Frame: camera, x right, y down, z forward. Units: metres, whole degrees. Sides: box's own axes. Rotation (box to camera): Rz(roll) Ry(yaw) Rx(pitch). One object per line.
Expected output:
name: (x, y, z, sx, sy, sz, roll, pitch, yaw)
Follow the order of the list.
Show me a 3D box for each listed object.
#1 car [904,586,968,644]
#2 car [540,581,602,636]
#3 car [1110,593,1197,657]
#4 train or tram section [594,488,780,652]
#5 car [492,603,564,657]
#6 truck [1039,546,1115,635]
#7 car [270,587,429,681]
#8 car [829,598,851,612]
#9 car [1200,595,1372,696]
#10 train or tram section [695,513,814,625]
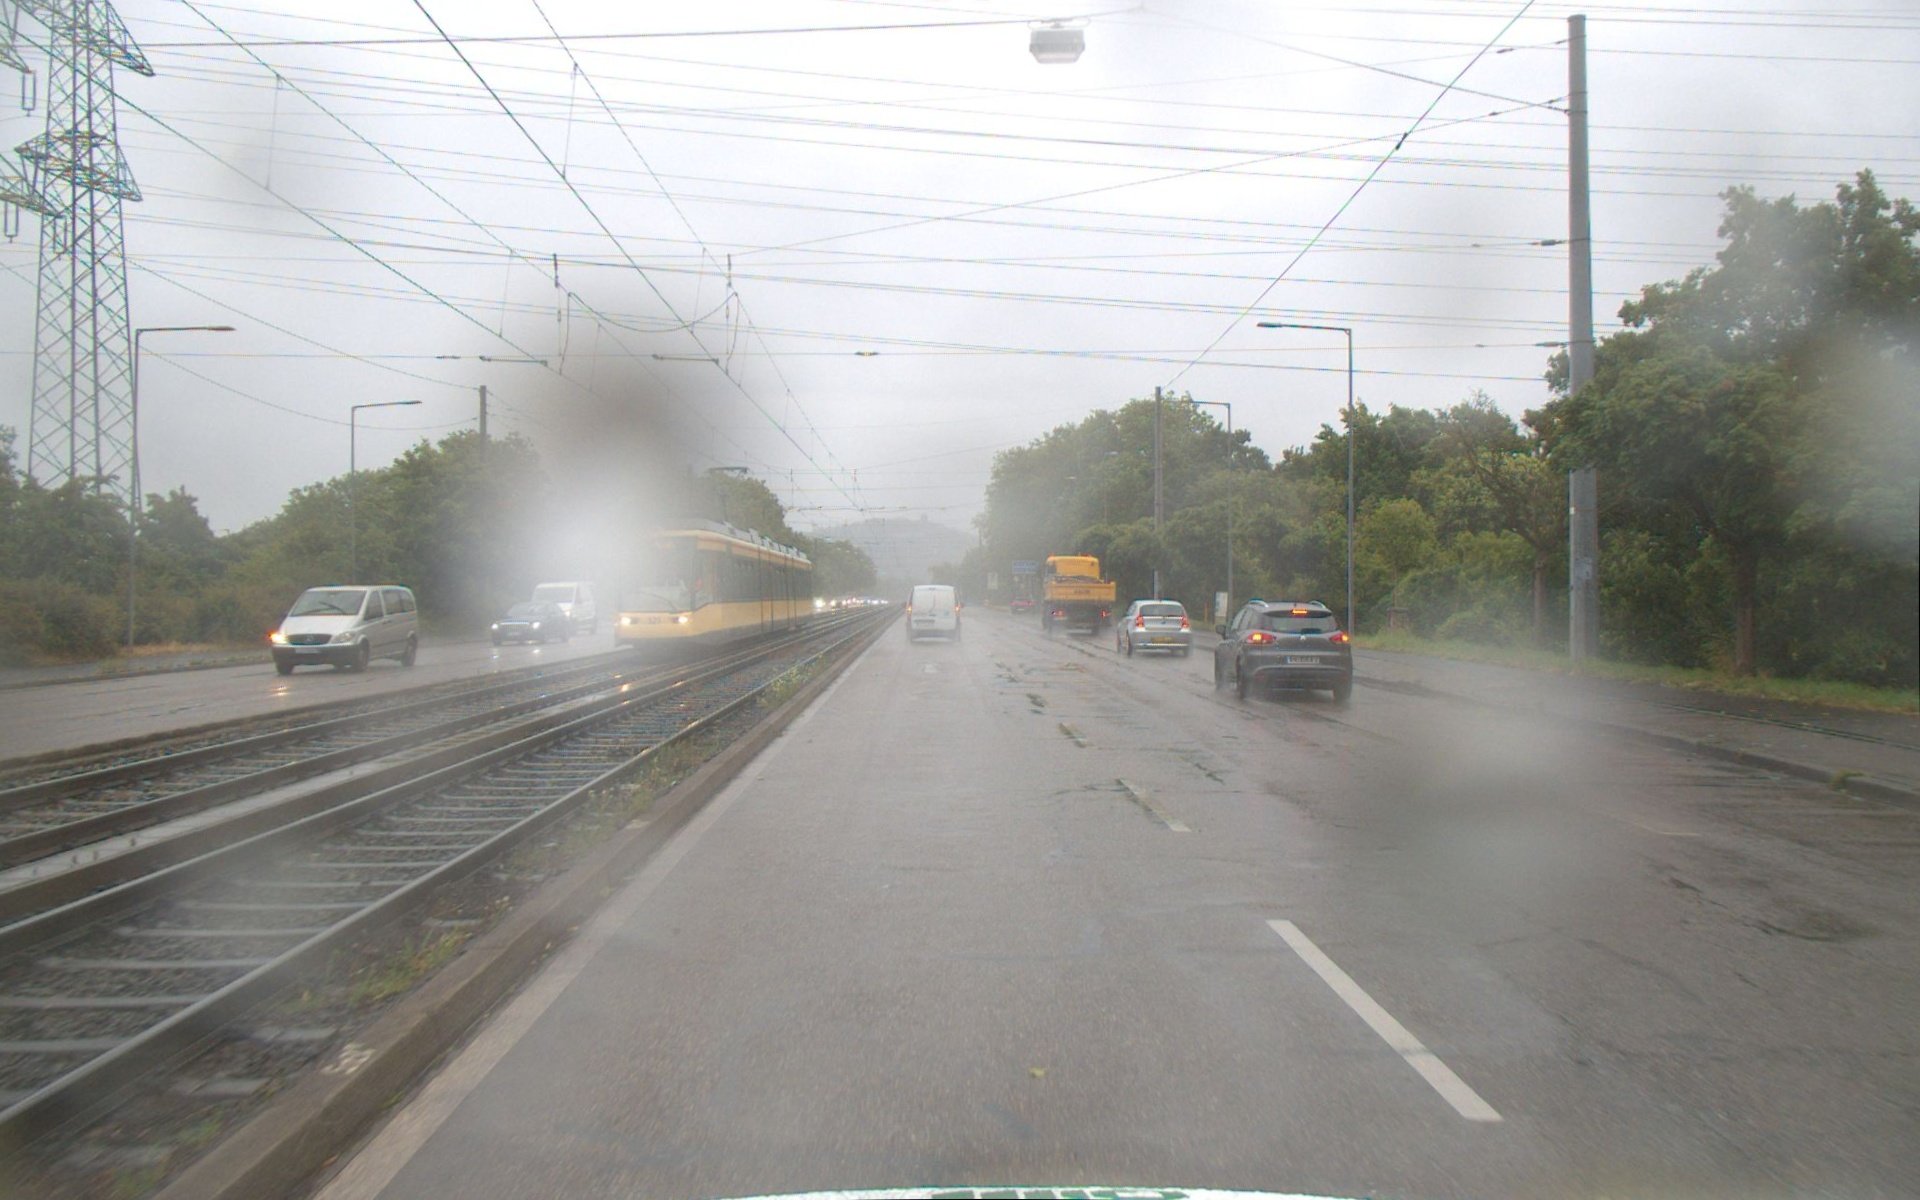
car: (-0.740, 0.440, 52.493, 1.948, 1.713, 3.740, 1, 1, 0)
car: (-16.890, 0.351, 71.959, 1.837, 2.279, 3.943, 1, 1, -2)
car: (5.089, 0.612, 43.988, 1.593, 1.529, 4.605, 1, 1, -2)
train or tram section: (-7.321, -0.871, 47.372, 2.807, 3.770, 17.886, 1, 1, -2)
car: (-15.187, 1.023, 58.345, 1.633, 1.753, 3.731, 1, 1, -2)
truck: (4.597, -0.422, 65.949, 2.503, 3.314, 6.933, 1, 1, 0)
car: (-13.672, 0.695, 37.351, 1.849, 1.917, 4.622, 1, 1, 0)
car: (-14.012, 0.560, 193.156, 1.952, 1.489, 5.252, -2, 1, 2)
car: (5.055, 0.656, 26.177, 1.849, 1.380, 4.277, 1, 1, 0)
train or tram section: (-7.840, -1.234, 66.082, 2.827, 3.770, 19.524, 1, 1, -2)
